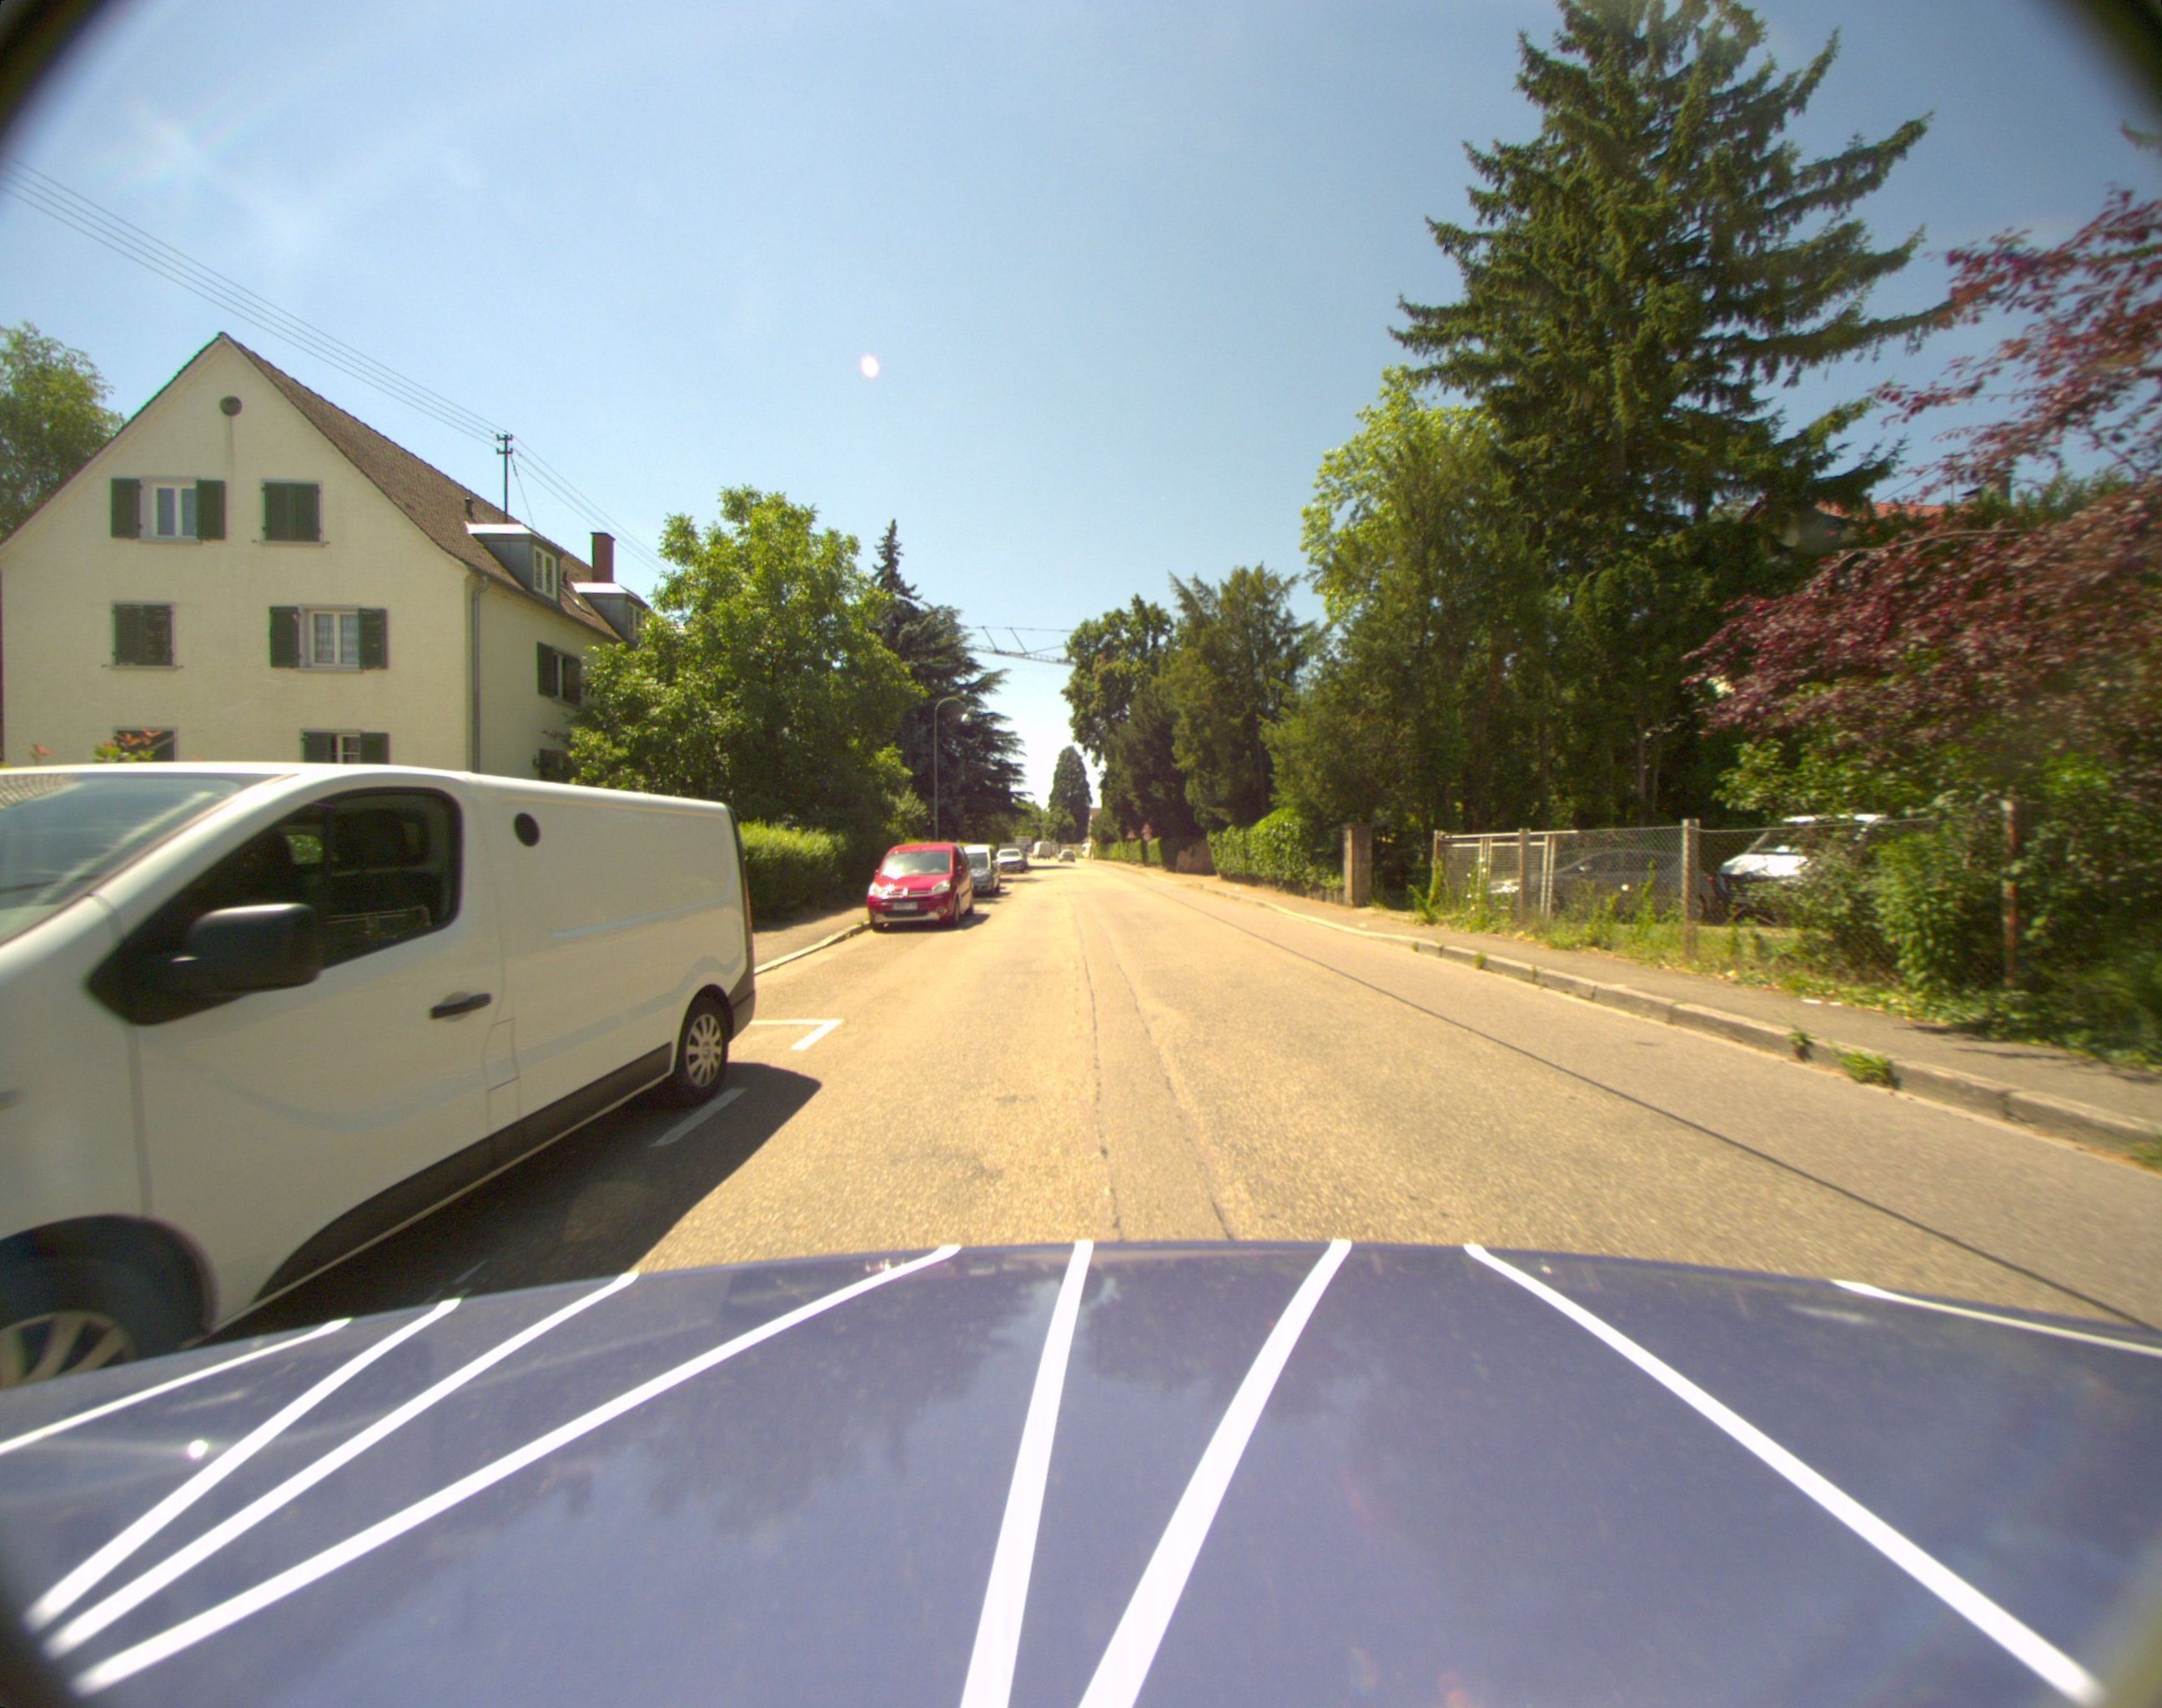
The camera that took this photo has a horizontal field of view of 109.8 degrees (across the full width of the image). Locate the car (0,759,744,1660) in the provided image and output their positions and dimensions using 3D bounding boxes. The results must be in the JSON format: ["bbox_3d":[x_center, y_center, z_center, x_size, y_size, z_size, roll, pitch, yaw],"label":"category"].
[{"bbox_3d":[-3.288,0.765,2.869,1.908,1.913,4.717,-2,1,-1],"label":"car"}]

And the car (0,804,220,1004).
[{"bbox_3d":[-10.902,0.425,6.505,1.748,1.845,4.402,2,0,8],"label":"car"}]

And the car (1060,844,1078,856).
[{"bbox_3d":[-1.445,-0.437,90.455,1.870,1.375,4.601,0,1,-5],"label":"car"}]

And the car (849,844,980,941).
[{"bbox_3d":[-3.439,0.705,16.544,1.908,1.718,4.390,-3,1,-2],"label":"car"}]

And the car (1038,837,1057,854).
[{"bbox_3d":[-5.193,-1.232,116.256,2.000,2.518,5.888,-1,1,-11],"label":"car"}]

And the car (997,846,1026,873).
[{"bbox_3d":[-4.606,0.344,50.960,1.776,1.622,4.602,-2,1,-4],"label":"car"}]

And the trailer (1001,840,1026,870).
[{"bbox_3d":[-4.937,0.039,56.331,1.684,2.056,3.705,-2,2,-4],"label":"trailer"}]

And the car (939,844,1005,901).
[{"bbox_3d":[-3.725,0.555,26.683,1.751,1.772,4.541,-2,1,-2],"label":"car"}]

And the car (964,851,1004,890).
[{"bbox_3d":[-3.991,0.653,31.474,1.264,1.487,2.708,-2,1,0],"label":"car"}]

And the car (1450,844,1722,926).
[{"bbox_3d":[9.745,0.566,14.954,3.996,1.416,1.969,1,1,3],"label":"car"}]

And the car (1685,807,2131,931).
[{"bbox_3d":[16.301,0.294,15.230,6.680,2.159,2.401,1,1,-5],"label":"car"}]
